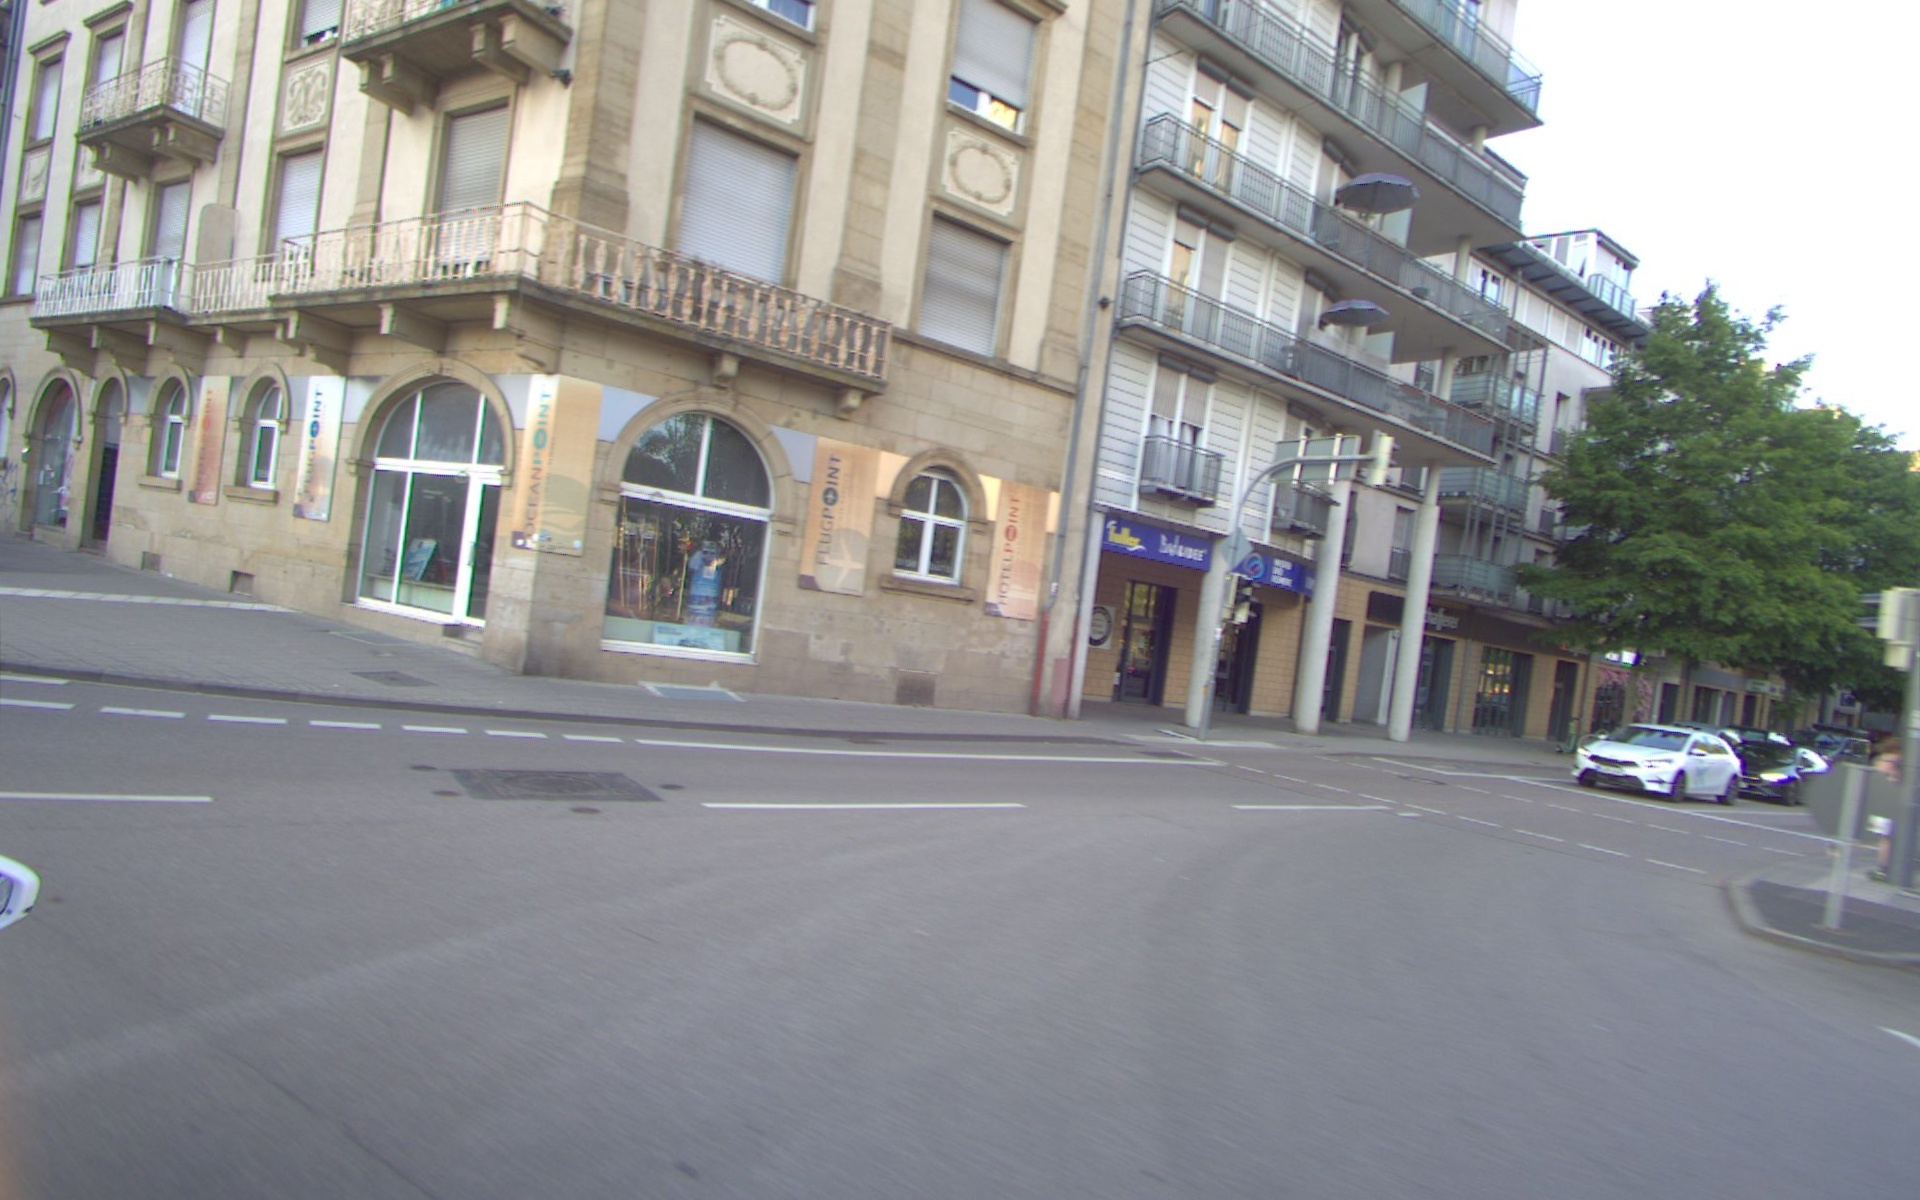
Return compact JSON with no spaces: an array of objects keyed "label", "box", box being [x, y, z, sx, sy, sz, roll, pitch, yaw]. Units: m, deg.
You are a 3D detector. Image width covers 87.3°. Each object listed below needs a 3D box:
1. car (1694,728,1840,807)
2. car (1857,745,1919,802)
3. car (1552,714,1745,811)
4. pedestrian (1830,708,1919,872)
[{"label":"car","box":[19.847,4.137,24.705,3.969,1.503,1.831,9,-2,-38]},{"label":"car","box":[30.957,5.714,32.572,3.963,1.503,1.833,9,-2,-33]},{"label":"car","box":[14.258,3.377,20.785,3.963,1.503,1.833,9,-2,-33]},{"label":"pedestrian","box":[10.824,2.225,11.829,0.781,1.800,0.539,8,-1,-32]}]
